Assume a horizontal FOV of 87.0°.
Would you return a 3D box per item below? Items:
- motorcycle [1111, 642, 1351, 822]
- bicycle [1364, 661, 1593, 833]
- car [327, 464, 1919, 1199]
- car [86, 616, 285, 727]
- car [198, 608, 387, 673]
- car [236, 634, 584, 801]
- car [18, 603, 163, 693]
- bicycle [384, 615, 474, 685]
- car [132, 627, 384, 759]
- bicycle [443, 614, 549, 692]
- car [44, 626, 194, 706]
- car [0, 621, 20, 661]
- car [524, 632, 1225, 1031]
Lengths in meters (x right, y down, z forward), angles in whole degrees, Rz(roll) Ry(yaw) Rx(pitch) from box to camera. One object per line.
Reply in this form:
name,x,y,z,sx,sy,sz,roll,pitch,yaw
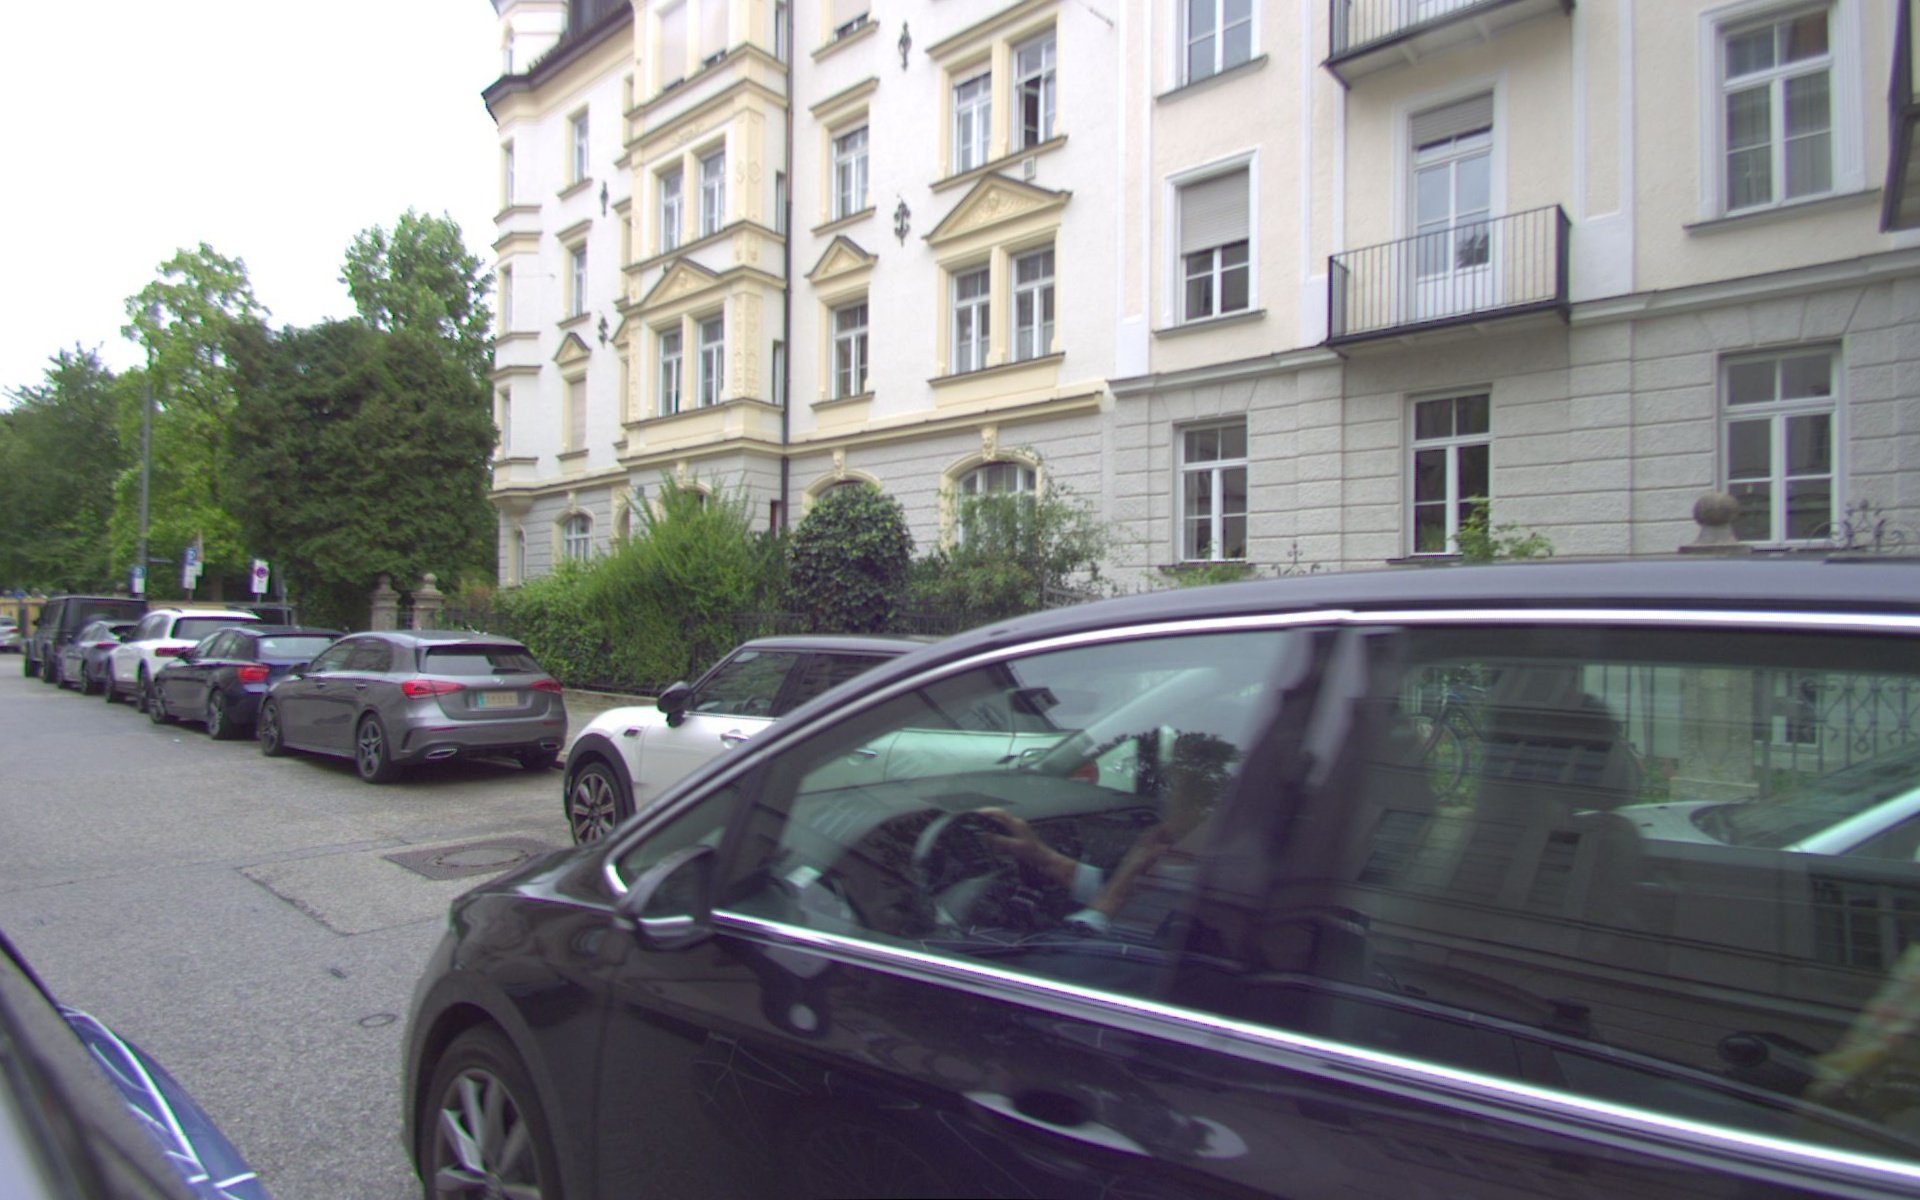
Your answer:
motorcycle,2.222,1.024,8.433,1.820,1.259,0.697,0,1,41
bicycle,3.762,1.023,7.412,1.420,1.069,0.427,-1,2,43
car,0.608,0.742,1.695,4.084,1.545,1.706,0,-4,42
car,-13.344,1.131,17.335,4.483,1.661,1.787,-1,-3,41
car,-20.704,1.235,31.571,2.050,1.872,4.468,-1,-2,34
car,-5.911,1.096,10.683,4.188,1.375,1.718,-1,-3,39
car,-20.645,1.067,23.957,4.815,1.901,1.892,0,-2,41
bicycle,-10.351,0.948,19.694,2.530,1.269,0.689,-1,-3,42
car,-9.587,1.131,13.714,3.996,1.431,1.751,1,-1,39
bicycle,-8.293,0.914,18.030,2.530,1.307,0.747,-1,-3,42
car,-17.228,1.315,20.671,3.916,1.441,1.626,0,-4,41
car,-38.028,1.547,39.293,3.952,1.504,1.683,-1,-3,40
car,-0.733,0.957,5.941,4.078,1.446,1.778,0,-1,41
